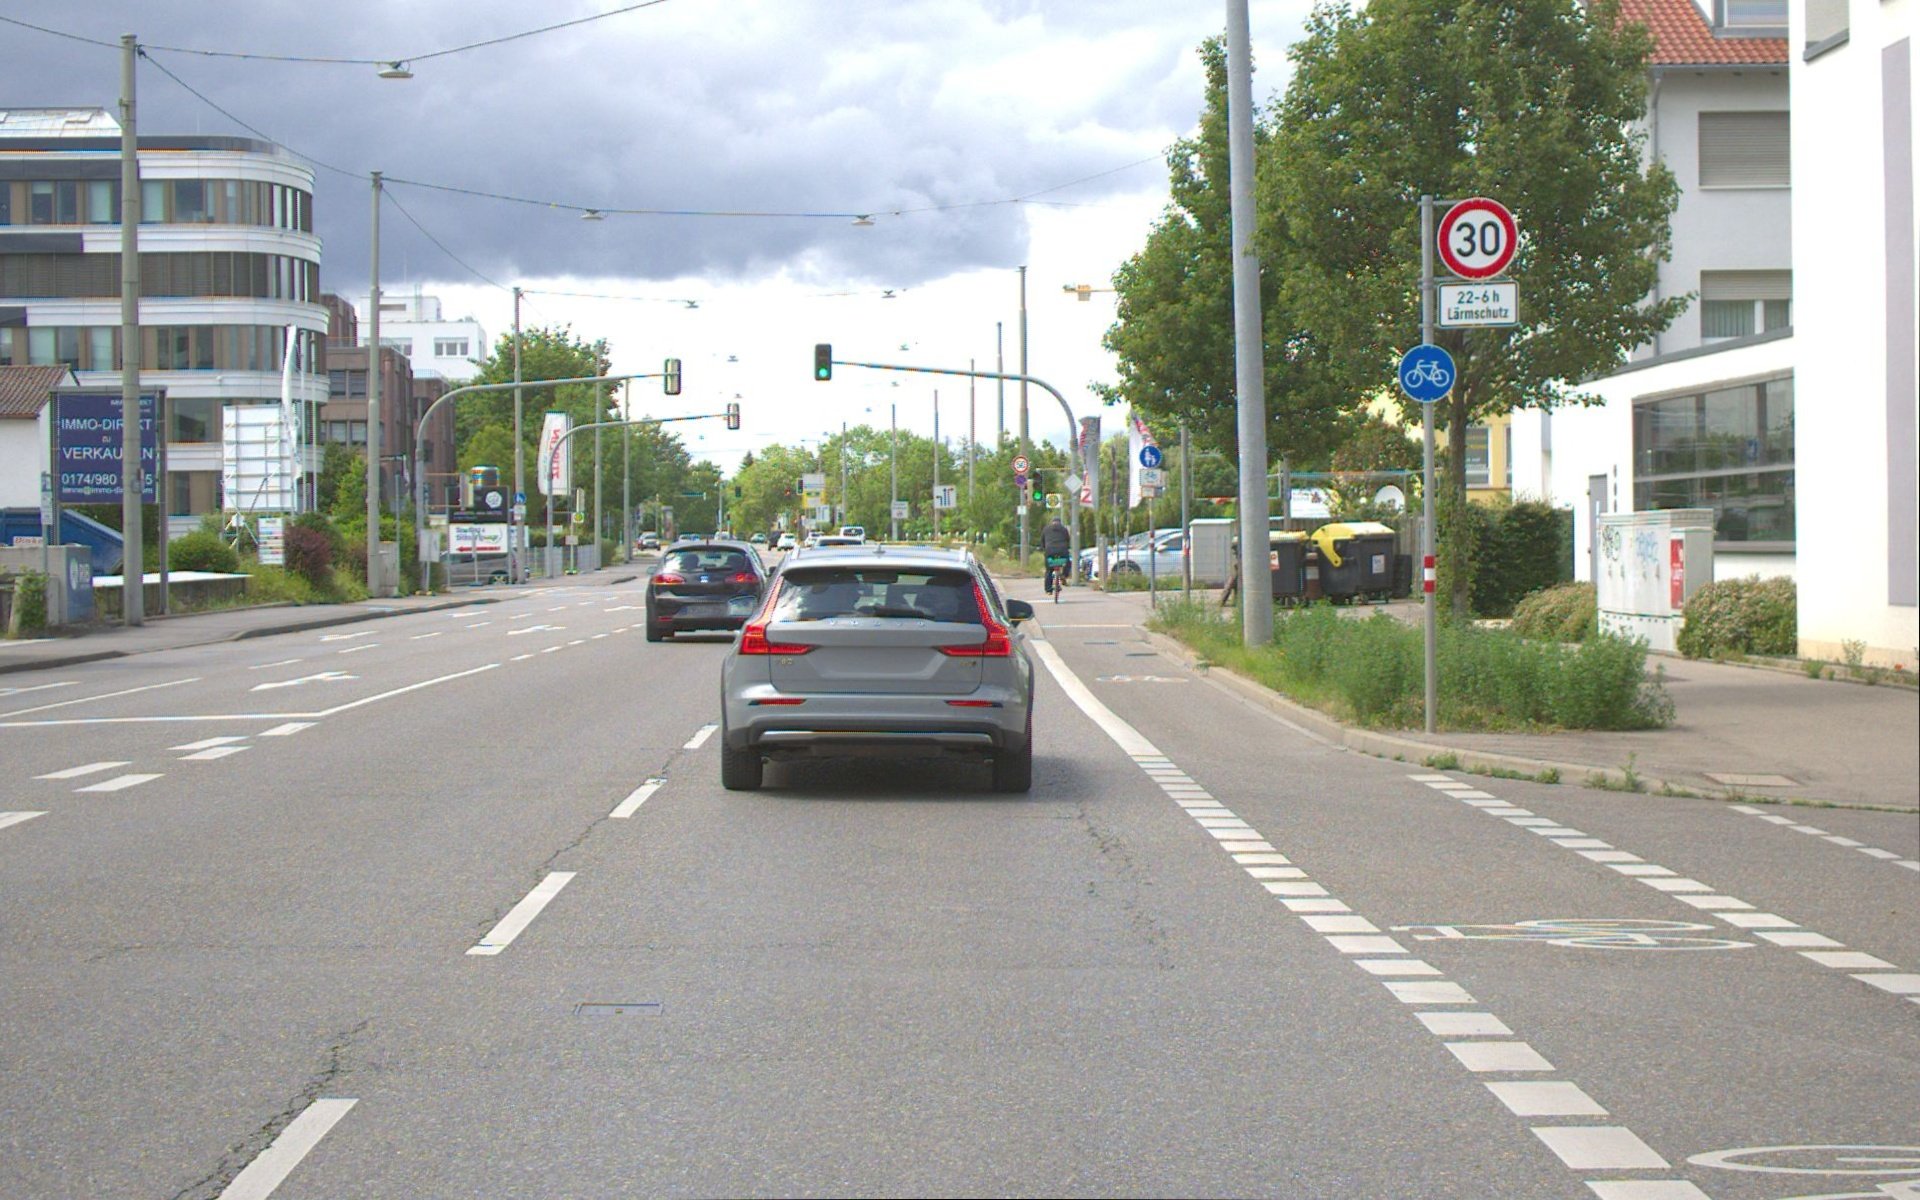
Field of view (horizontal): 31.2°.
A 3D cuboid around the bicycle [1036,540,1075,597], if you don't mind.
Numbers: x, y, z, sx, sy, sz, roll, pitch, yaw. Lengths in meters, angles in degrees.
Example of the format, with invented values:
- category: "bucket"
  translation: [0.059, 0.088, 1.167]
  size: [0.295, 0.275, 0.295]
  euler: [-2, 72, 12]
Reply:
- category: "bicycle"
  translation: [1.903, -0.635, 68.511]
  size: [0.638, 1.059, 1.977]
  euler: [-4, 1, 0]

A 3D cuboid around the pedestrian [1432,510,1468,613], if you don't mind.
- category: "pedestrian"
  translation: [8.410, -0.656, 58.962]
  size: [0.507, 1.759, 0.500]
  euler: [2, 0, 16]

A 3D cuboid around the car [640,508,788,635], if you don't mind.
- category: "car"
  translation: [-3.516, -0.405, 49.649]
  size: [1.993, 1.711, 4.000]
  euler: [2, 0, -3]

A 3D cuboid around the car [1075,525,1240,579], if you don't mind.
- category: "car"
  translation: [5.443, -1.338, 95.266]
  size: [4.368, 1.399, 1.989]
  euler: [1, 1, -2]

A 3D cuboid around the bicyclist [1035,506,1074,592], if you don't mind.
- category: "bicyclist"
  translation: [1.876, -1.023, 68.558]
  size: [0.638, 1.670, 0.890]
  euler: [-4, 1, 0]

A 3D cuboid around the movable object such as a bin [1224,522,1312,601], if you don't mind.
- category: "movable object such as a bin"
  translation: [5.420, -0.667, 60.438]
  size: [1.320, 1.356, 1.250]
  euler: [0, 0, 16]

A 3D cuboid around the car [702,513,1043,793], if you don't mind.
- category: "car"
  translation: [-0.572, 0.288, 21.553]
  size: [1.895, 1.549, 4.000]
  euler: [2, 0, -2]

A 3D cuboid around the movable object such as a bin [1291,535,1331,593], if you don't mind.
- category: "movable object such as a bin"
  translation: [6.263, -0.638, 61.300]
  size: [0.567, 1.023, 0.405]
  euler: [-1, 0, 36]

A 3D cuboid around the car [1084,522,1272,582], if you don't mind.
- category: "car"
  translation: [5.650, -1.256, 89.493]
  size: [4.696, 1.488, 2.046]
  euler: [0, 2, -1]

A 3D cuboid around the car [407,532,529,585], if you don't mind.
- category: "car"
  translation: [-17.190, -1.463, 120.221]
  size: [4.092, 1.393, 1.909]
  euler: [-6, 2, -7]

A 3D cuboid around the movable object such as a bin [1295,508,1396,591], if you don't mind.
- category: "movable object such as a bin"
  translation: [6.805, -0.875, 60.733]
  size: [1.322, 1.430, 1.248]
  euler: [-1, 0, 36]

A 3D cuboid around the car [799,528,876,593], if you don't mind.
- category: "car"
  translation: [-3.303, -1.063, 93.160]
  size: [1.993, 1.689, 4.000]
  euler: [2, 0, -1]
